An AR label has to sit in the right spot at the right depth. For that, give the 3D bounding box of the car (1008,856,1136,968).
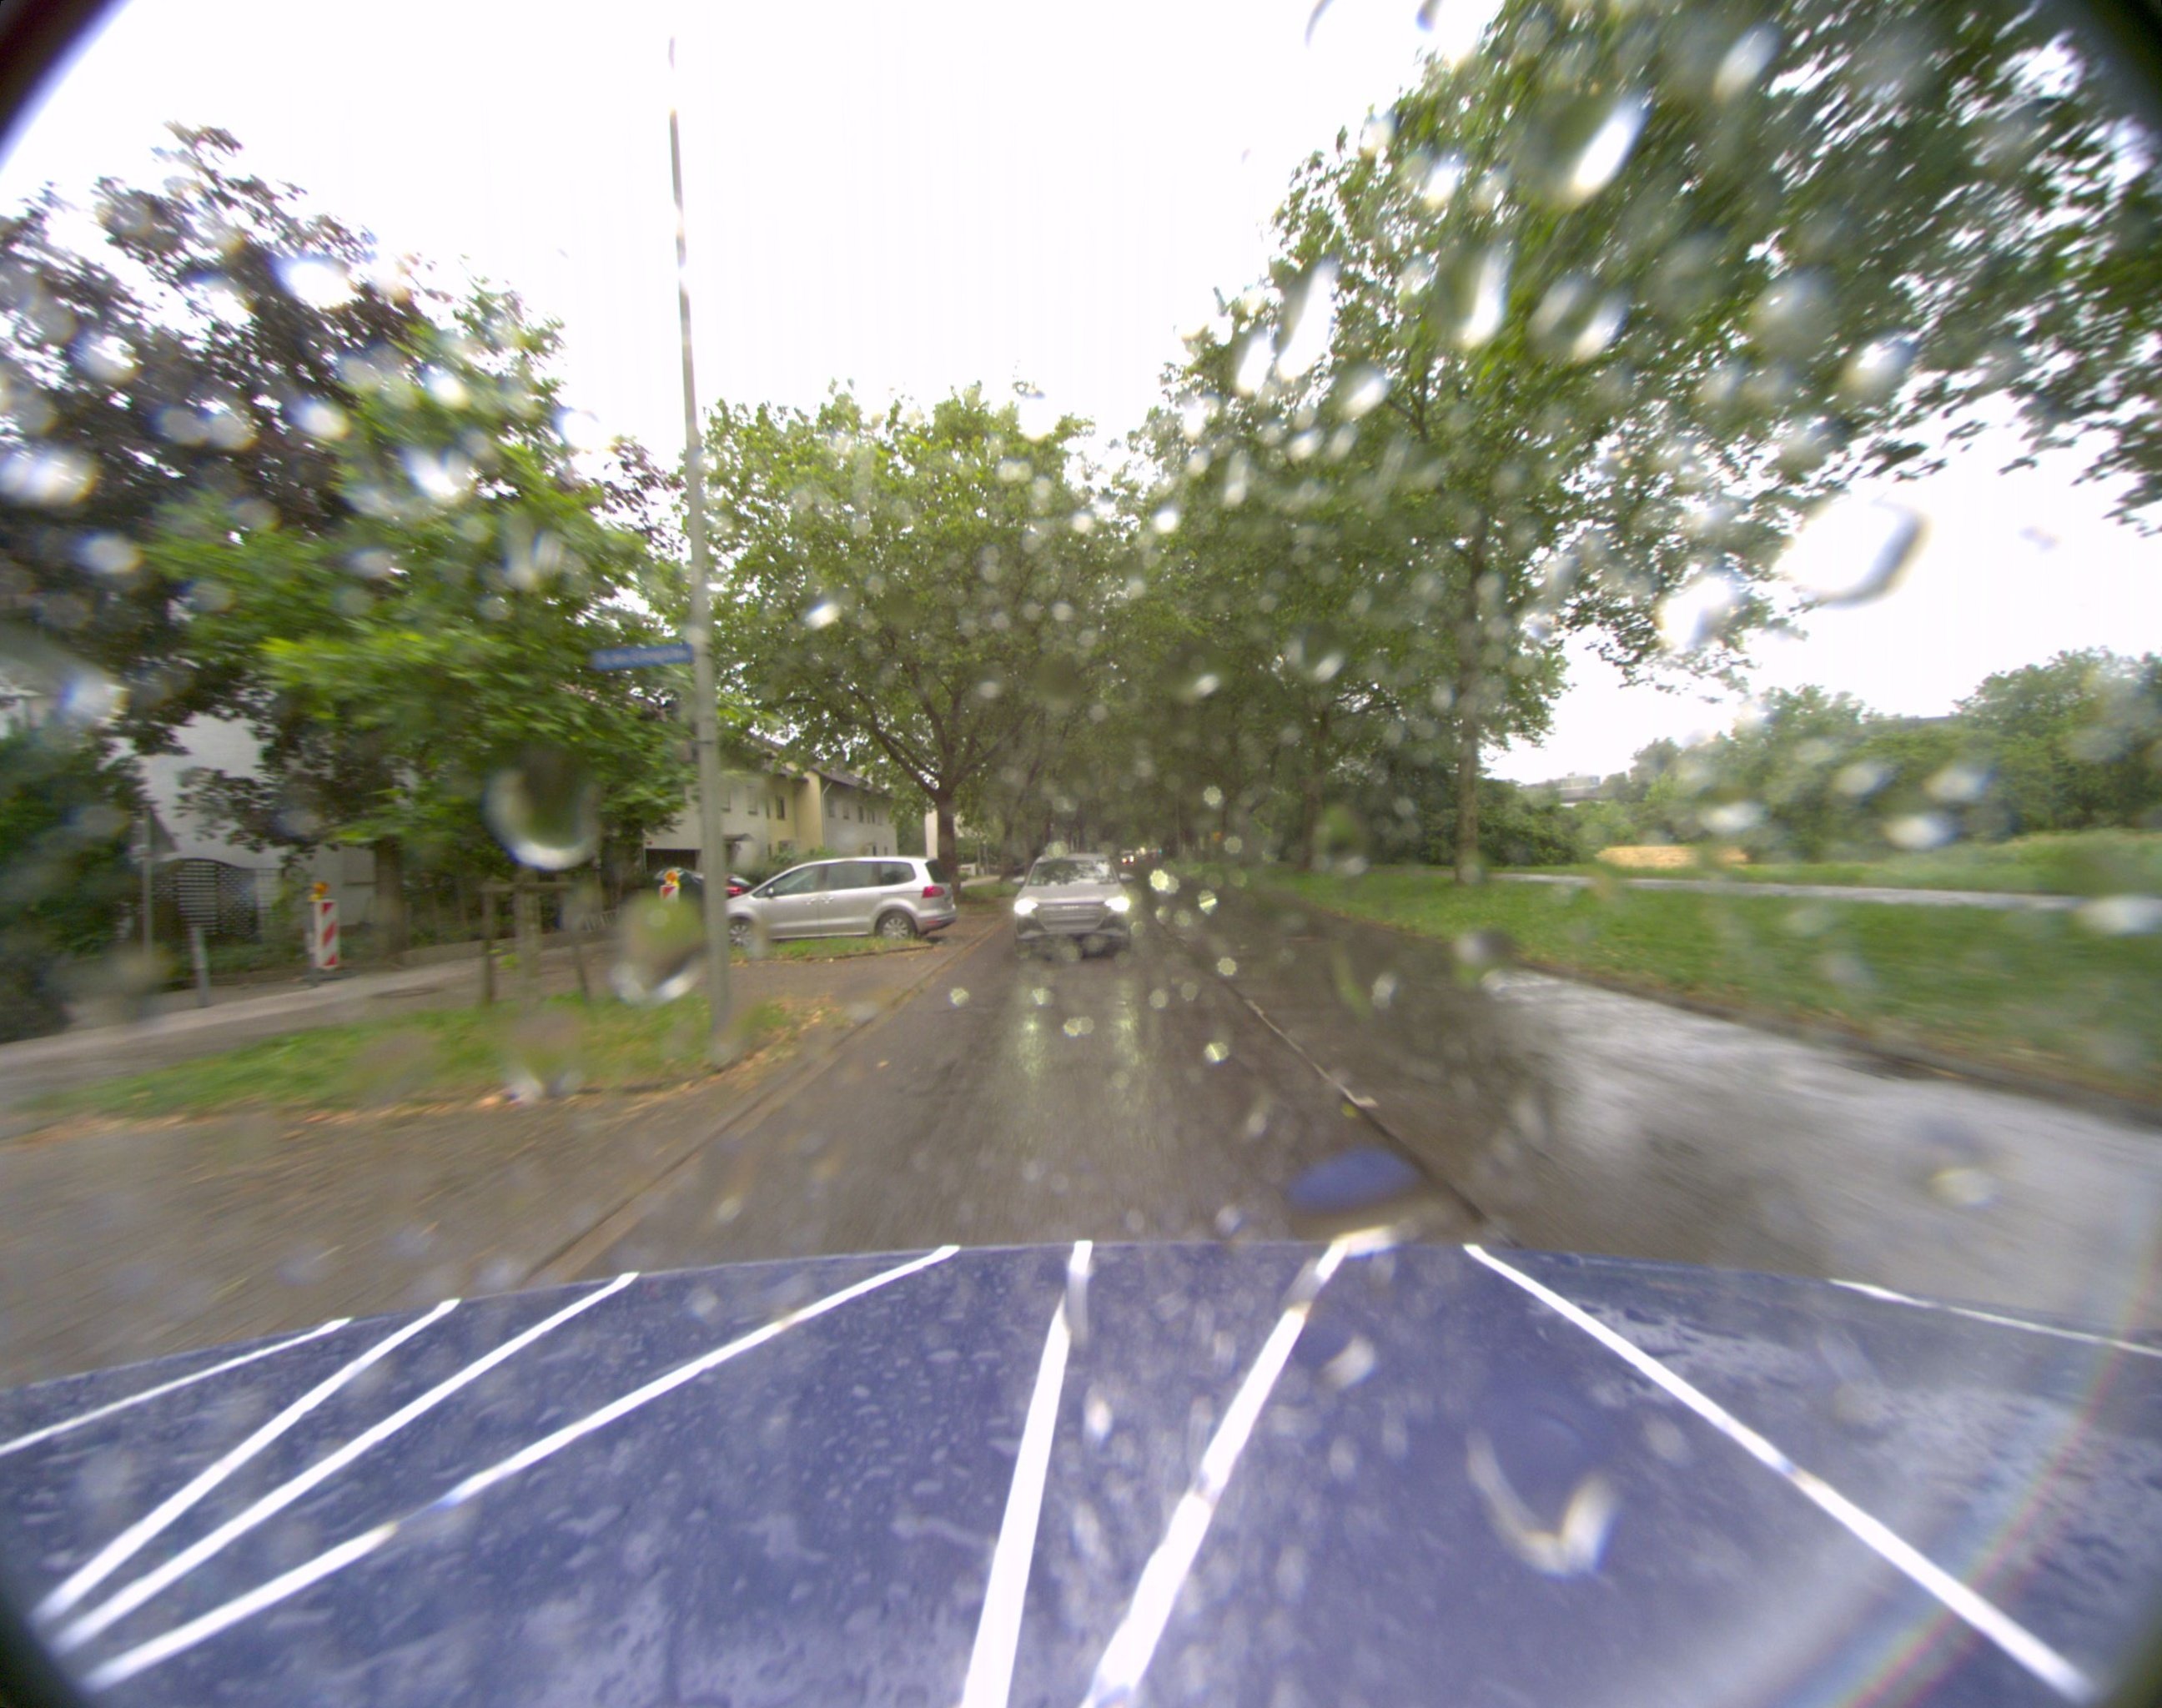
[{"bbox_3d":[-0.084,0.879,13.611,1.862,1.608,4.424,-2,0,1],"label":"car"}]

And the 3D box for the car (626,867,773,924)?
[{"bbox_3d":[-12.461,1.336,24.994,3.853,1.603,1.843,-2,0,3],"label":"car"}]

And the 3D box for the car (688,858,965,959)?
[{"bbox_3d":[-4.797,0.997,14.899,4.701,1.651,1.976,-2,0,-1],"label":"car"}]
